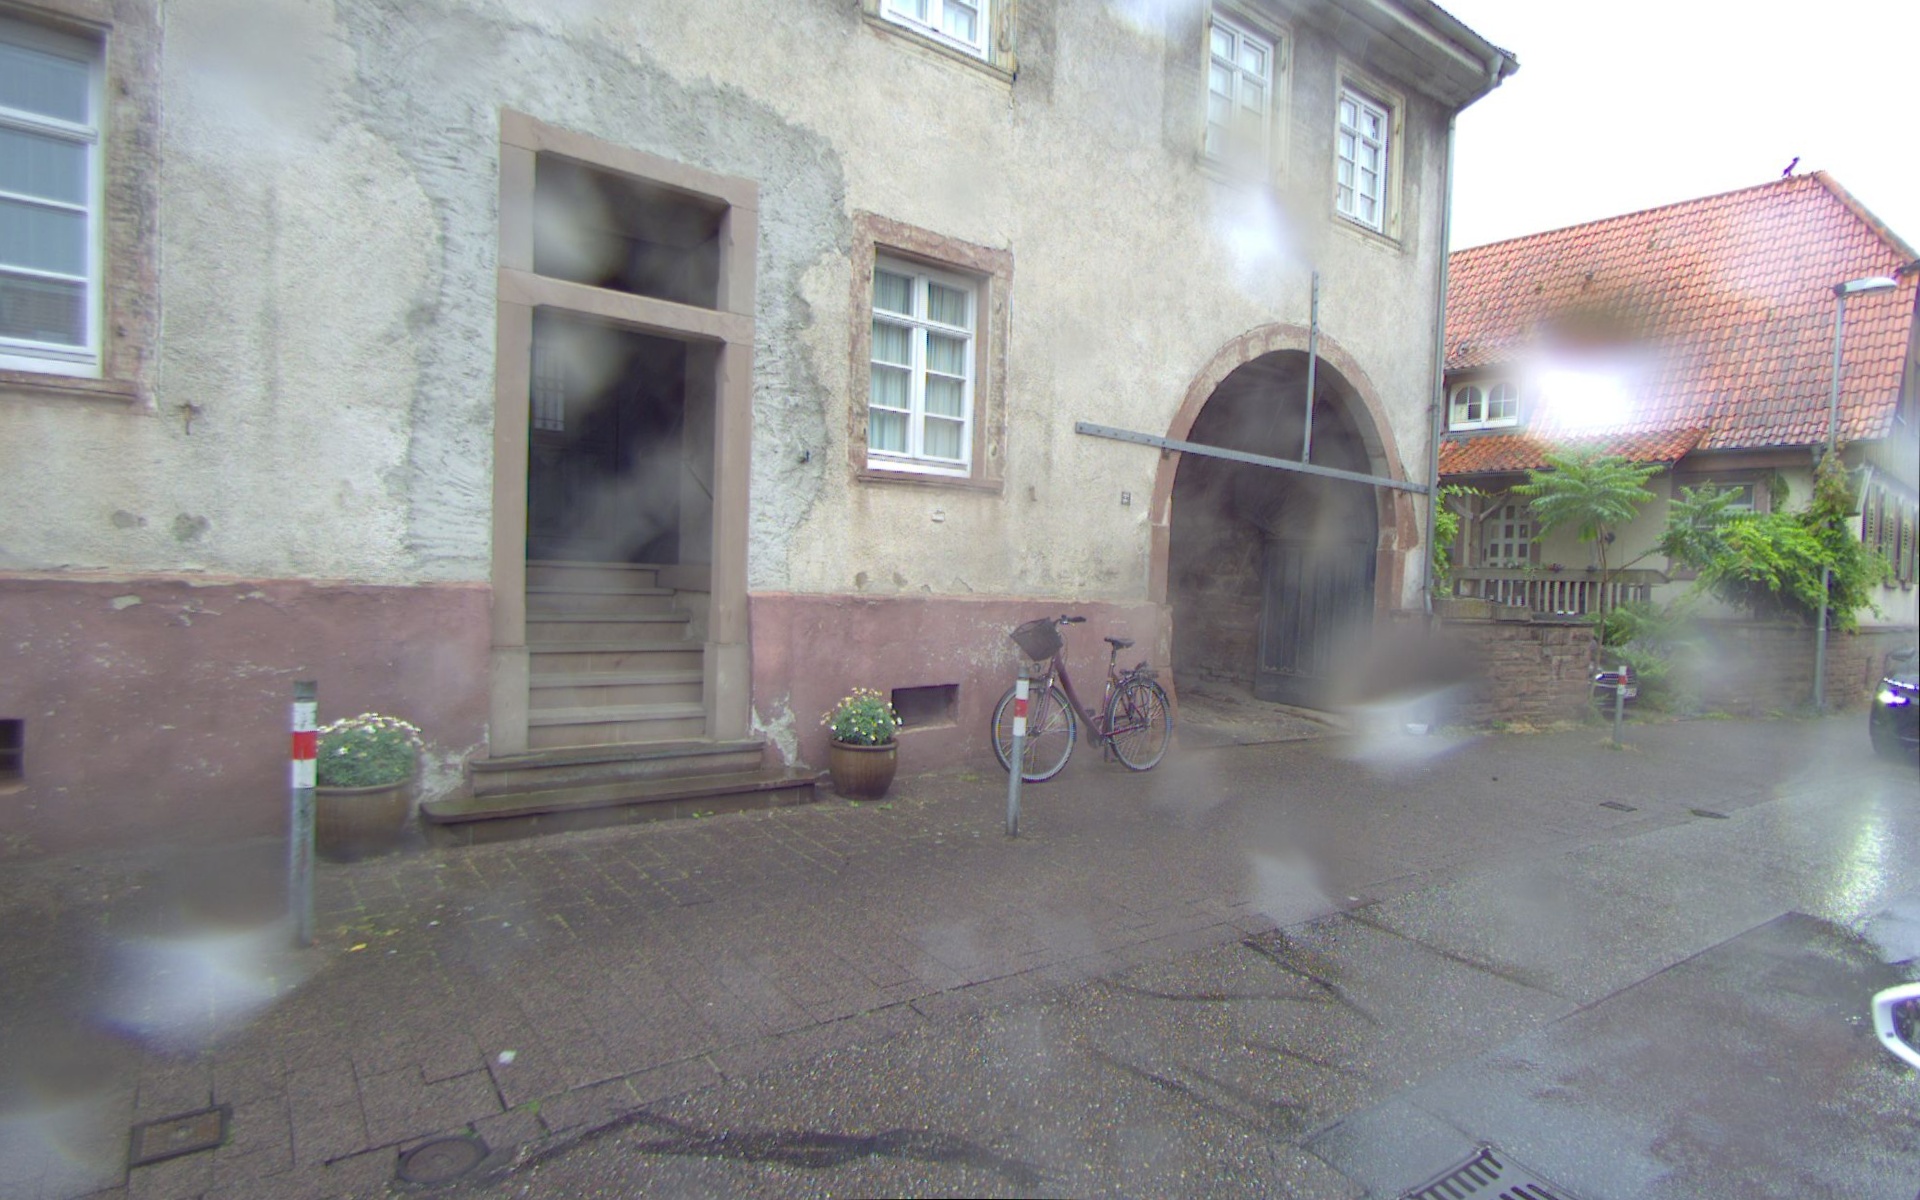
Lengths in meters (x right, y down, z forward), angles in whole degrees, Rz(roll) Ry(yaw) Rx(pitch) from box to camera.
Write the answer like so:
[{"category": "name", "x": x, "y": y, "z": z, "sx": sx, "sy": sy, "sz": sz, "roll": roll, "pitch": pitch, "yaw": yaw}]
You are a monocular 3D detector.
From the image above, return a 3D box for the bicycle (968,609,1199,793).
[{"category": "bicycle", "x": 0.956, "y": 0.691, "z": 7.452, "sx": 1.858, "sy": 1.194, "sz": 0.478, "roll": 1, "pitch": 4, "yaw": -38}]

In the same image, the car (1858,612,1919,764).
[{"category": "car", "x": 12.023, "y": 1.007, "z": 11.419, "sx": 4.199, "sy": 1.576, "sz": 1.820, "roll": 2, "pitch": 1, "yaw": -36}]

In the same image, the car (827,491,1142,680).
[{"category": "car", "x": 0.155, "y": -0.301, "z": 13.526, "sx": 1.869, "sy": 1.957, "sz": 4.194, "roll": 6, "pitch": 3, "yaw": -37}]

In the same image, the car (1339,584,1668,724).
[{"category": "car", "x": 7.984, "y": 0.705, "z": 15.162, "sx": 1.715, "sy": 1.444, "sz": 3.967, "roll": 2, "pitch": 5, "yaw": -30}]
